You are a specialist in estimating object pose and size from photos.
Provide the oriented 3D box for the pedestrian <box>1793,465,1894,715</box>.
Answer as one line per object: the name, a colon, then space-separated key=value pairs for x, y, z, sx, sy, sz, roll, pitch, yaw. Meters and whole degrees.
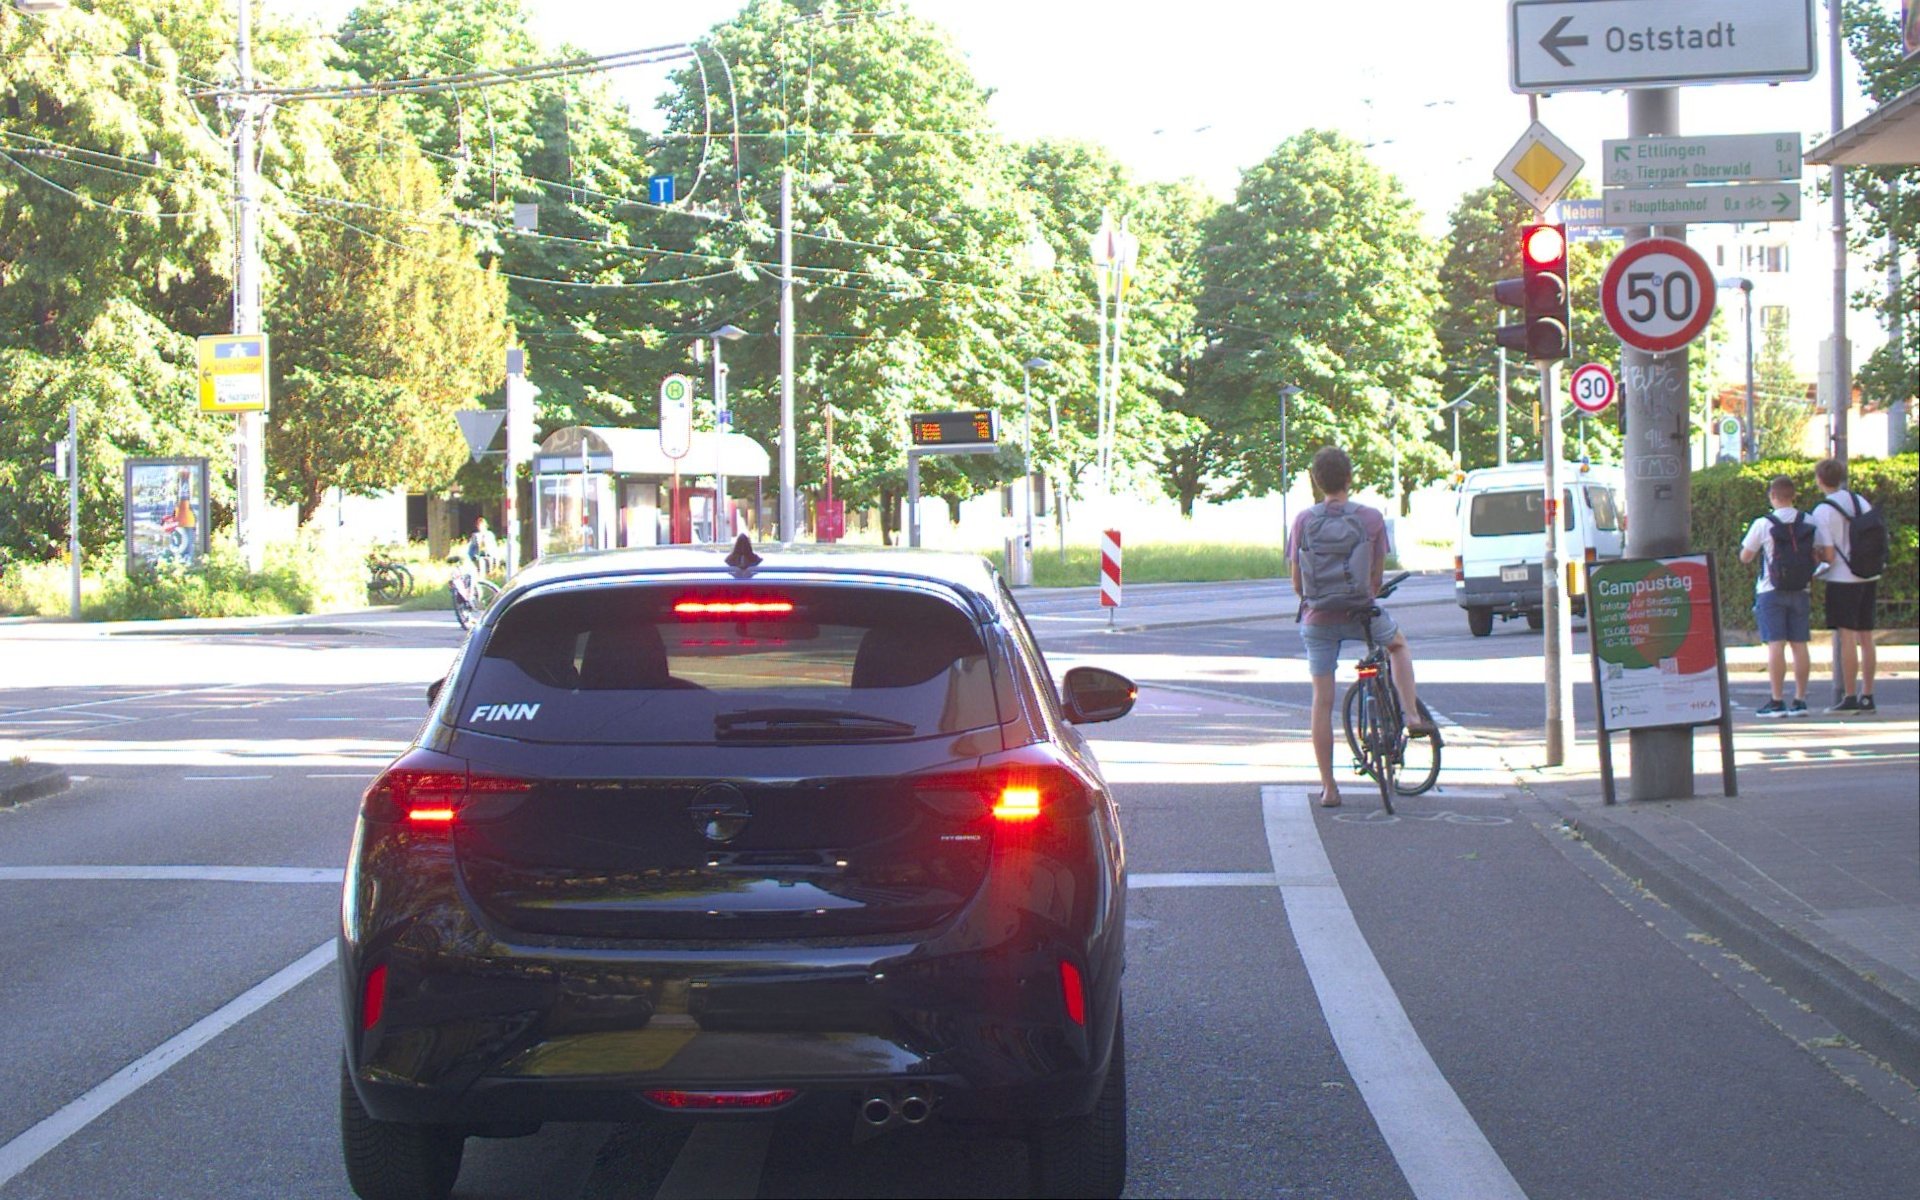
pedestrian: x=6.545 y=-0.081 z=25.448 sx=0.633 sy=1.814 sz=0.744 roll=1 pitch=0 yaw=20

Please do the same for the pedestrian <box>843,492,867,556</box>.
pedestrian: x=-3.088 y=-2.222 z=100.956 sx=0.620 sy=1.865 sz=0.519 roll=1 pitch=0 yaw=8

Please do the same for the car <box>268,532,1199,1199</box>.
car: x=-0.472 y=0.567 z=8.805 sx=1.840 sy=1.457 sz=3.984 roll=0 pitch=1 yaw=-1

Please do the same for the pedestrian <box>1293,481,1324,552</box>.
pedestrian: x=9.200 y=-2.197 z=90.724 sx=0.603 sy=1.865 sz=0.519 roll=1 pitch=0 yaw=-21

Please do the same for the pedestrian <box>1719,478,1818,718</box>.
pedestrian: x=6.023 y=-0.019 z=25.602 sx=0.633 sy=1.757 sz=0.582 roll=1 pitch=0 yaw=20

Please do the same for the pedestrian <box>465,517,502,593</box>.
pedestrian: x=-9.260 y=-0.882 z=66.835 sx=0.570 sy=1.467 sz=0.665 roll=0 pitch=1 yaw=3

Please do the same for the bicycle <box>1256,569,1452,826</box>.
bicycle: x=2.085 y=0.472 z=17.950 sx=0.753 sy=1.231 sz=2.014 roll=0 pitch=1 yaw=14

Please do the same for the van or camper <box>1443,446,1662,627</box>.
van or camper: x=8.031 y=-0.838 z=46.270 sx=2.031 sy=2.302 sz=4.535 roll=1 pitch=1 yaw=21

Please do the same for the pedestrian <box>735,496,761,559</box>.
pedestrian: x=-6.361 y=-2.174 z=103.270 sx=0.737 sy=1.865 sz=0.662 roll=1 pitch=0 yaw=-6

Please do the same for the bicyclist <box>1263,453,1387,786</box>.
bicyclist: x=1.891 y=0.091 z=17.768 sx=0.534 sy=1.686 sz=0.567 roll=0 pitch=1 yaw=17

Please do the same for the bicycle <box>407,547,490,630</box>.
bicycle: x=-6.863 y=-0.172 z=46.224 sx=0.796 sy=1.061 sz=2.185 roll=0 pitch=1 yaw=-1
